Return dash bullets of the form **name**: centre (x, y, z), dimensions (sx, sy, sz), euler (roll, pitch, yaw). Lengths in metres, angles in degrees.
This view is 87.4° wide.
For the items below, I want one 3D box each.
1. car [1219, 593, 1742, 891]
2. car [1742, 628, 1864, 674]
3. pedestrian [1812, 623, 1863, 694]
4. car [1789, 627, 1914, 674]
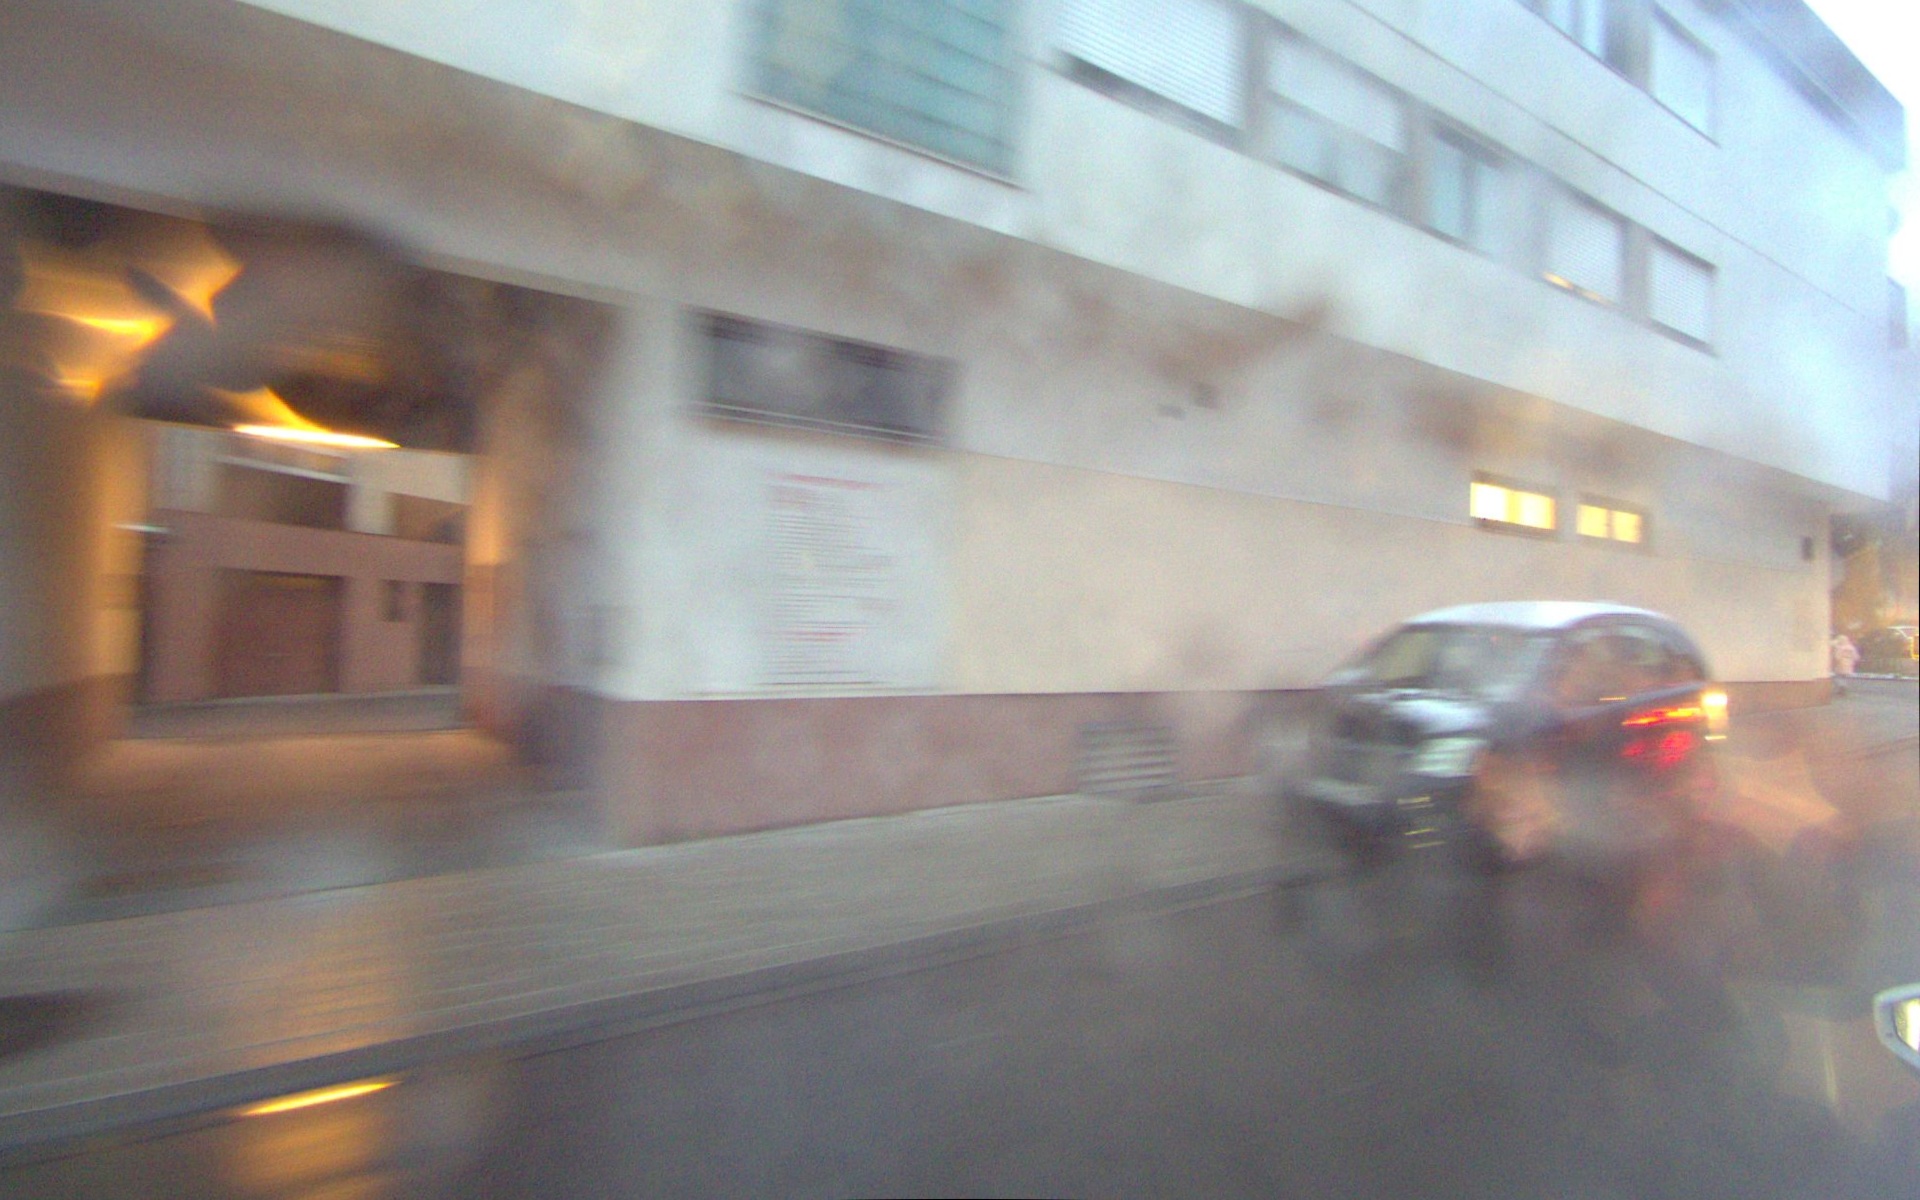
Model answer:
- **car**: centre (3.897, 0.818, 7.387), dimensions (3.771, 1.664, 1.784), euler (1, 0, -33)
- **car**: centre (37.924, 2.267, 45.324), dimensions (1.788, 1.936, 3.991), euler (1, -1, -13)
- **pedestrian**: centre (18.892, 1.248, 21.642), dimensions (0.637, 1.478, 0.650), euler (1, 0, 21)
- **car**: centre (40.793, 2.258, 46.080), dimensions (1.788, 2.025, 3.991), euler (1, -1, -13)
